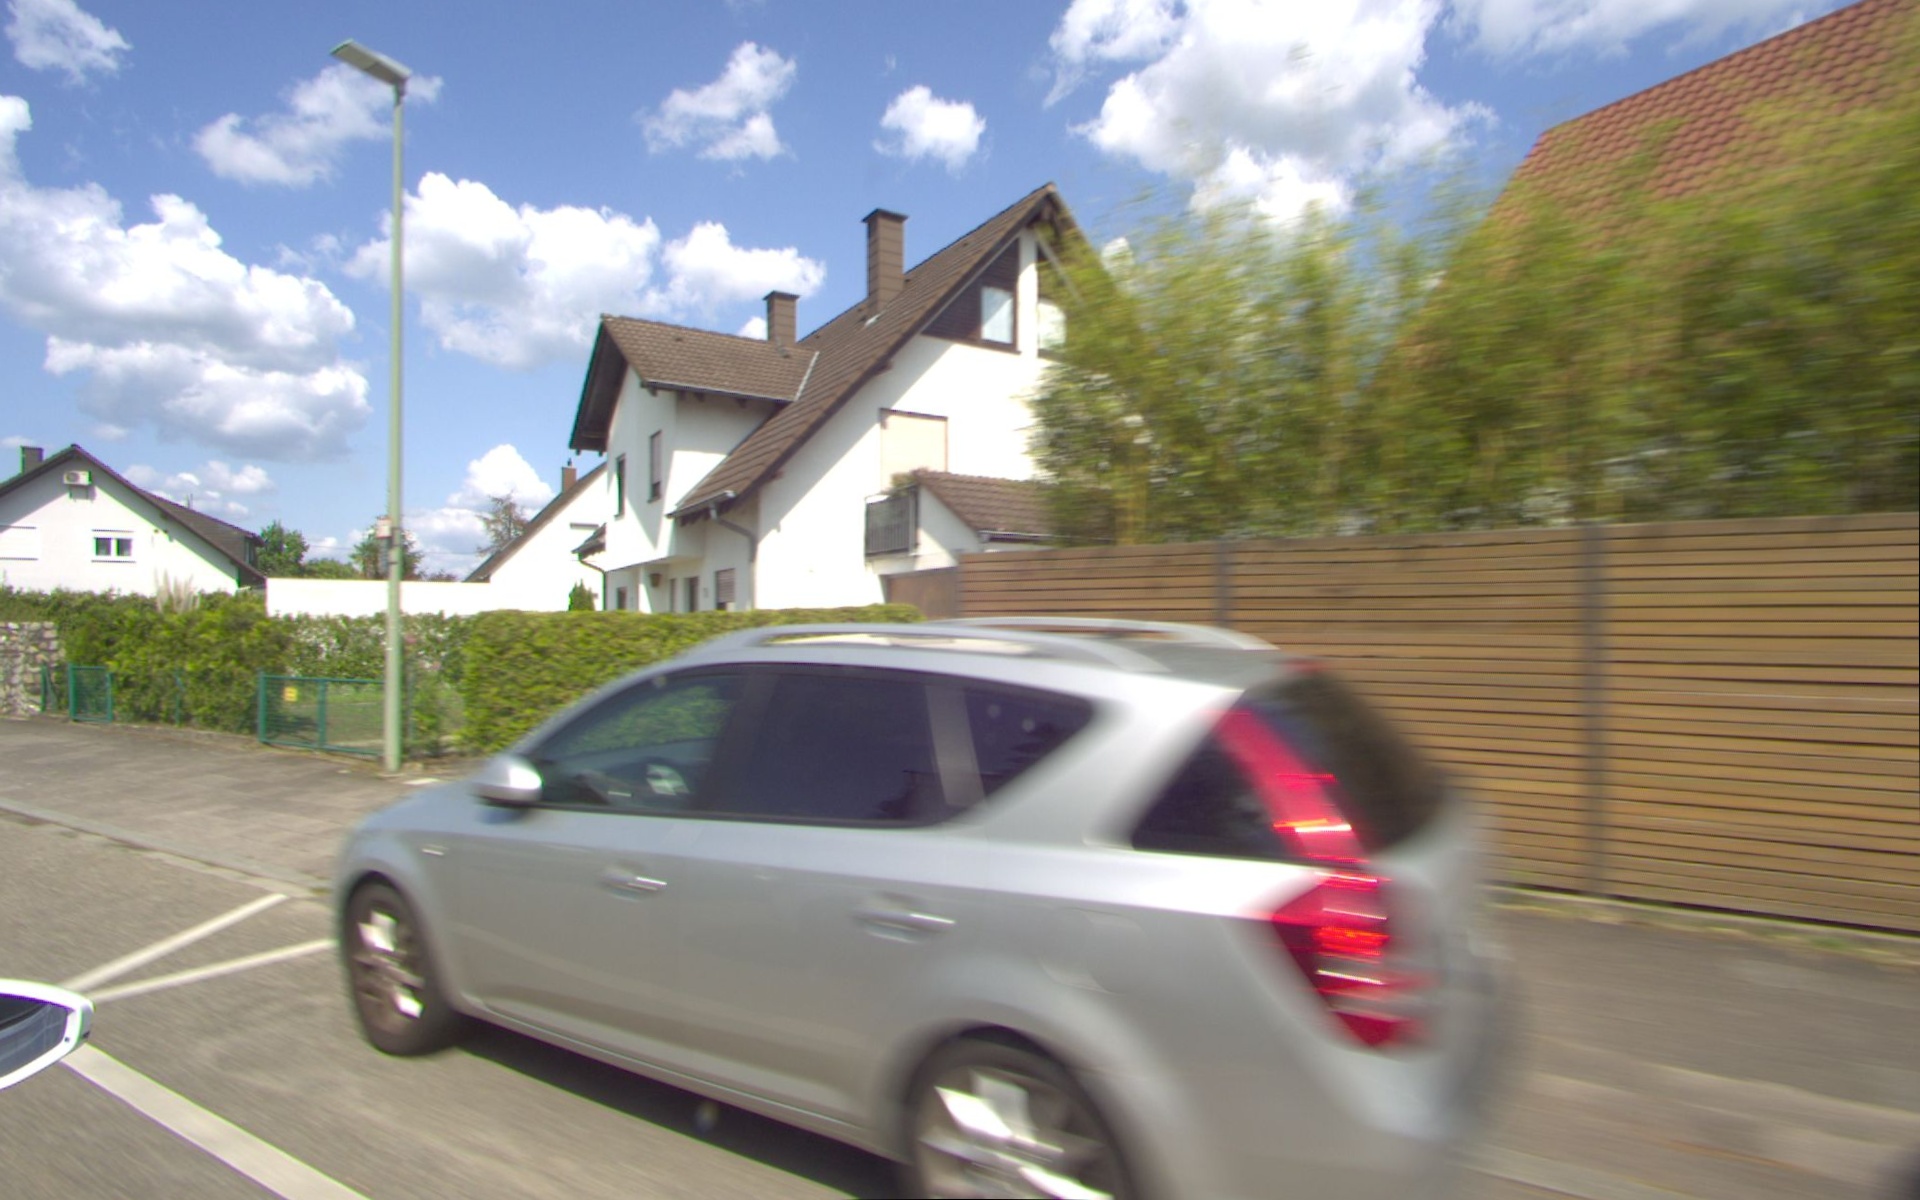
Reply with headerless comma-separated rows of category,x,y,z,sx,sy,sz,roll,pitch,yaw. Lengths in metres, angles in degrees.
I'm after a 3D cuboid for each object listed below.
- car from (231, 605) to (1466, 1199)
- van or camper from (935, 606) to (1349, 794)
car,-0.625,0.836,3.581,4.230,1.572,1.742,0,-2,32
van or camper,1.924,0.849,10.189,3.950,1.550,1.986,0,-1,-36
